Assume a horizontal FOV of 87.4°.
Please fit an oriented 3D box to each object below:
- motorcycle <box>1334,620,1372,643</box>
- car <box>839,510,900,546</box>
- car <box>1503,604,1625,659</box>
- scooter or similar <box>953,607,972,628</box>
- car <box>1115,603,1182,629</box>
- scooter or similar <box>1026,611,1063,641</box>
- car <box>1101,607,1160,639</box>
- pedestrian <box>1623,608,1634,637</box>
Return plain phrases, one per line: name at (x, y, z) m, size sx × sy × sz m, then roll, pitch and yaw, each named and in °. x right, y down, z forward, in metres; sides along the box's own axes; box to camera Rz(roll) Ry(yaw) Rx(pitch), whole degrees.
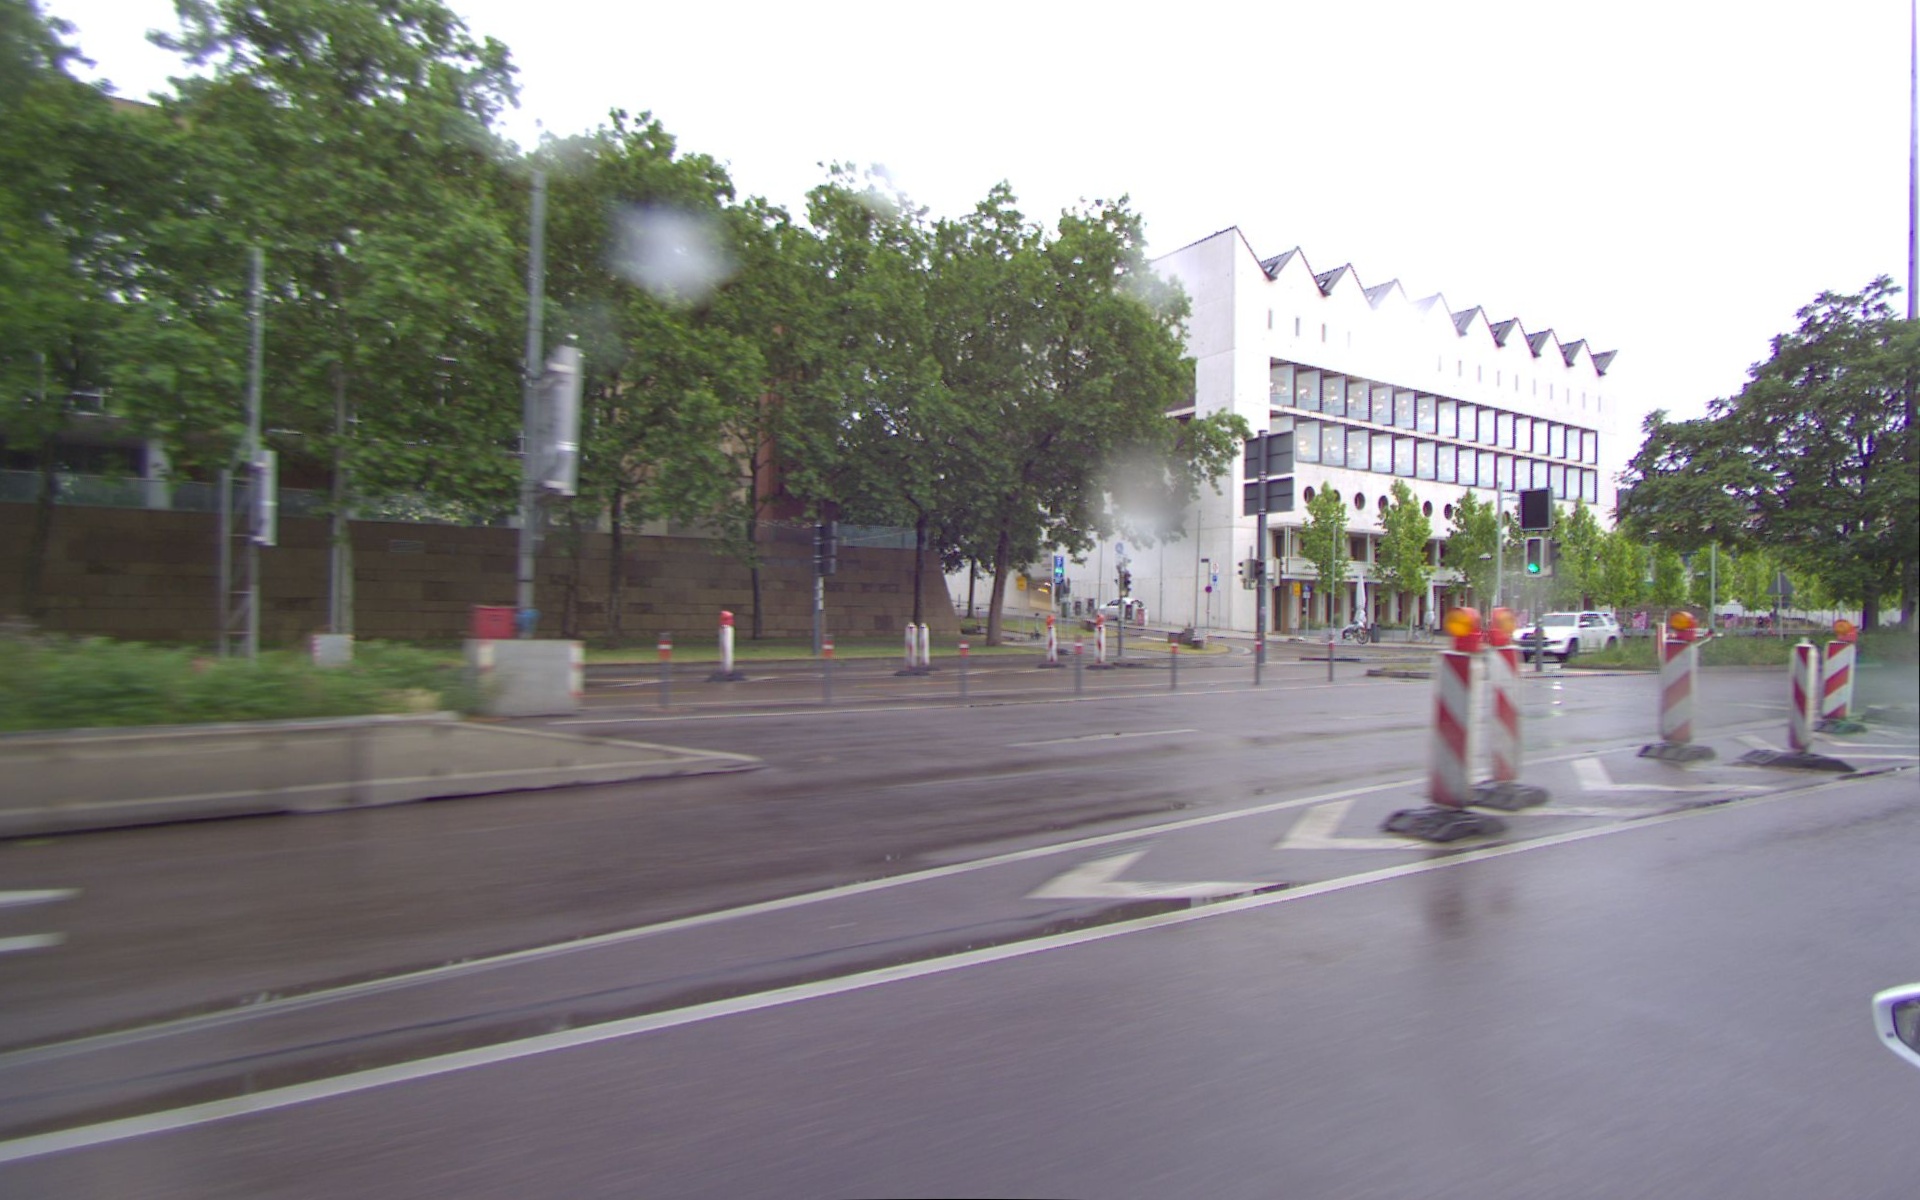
motorcycle at (20.517, 1.633, 52.399) m, size 1.808 × 1.169 × 0.426 m, roll 0°, pitch -1°, yaw 31°
car at (-6.504, -5.150, 72.149) m, size 3.952 × 2.142 × 1.985 m, roll 2°, pitch -3°, yaw -29°
car at (22.033, 1.196, 36.614) m, size 4.842 × 1.864 × 1.981 m, roll 2°, pitch -3°, yaw -34°
scooter or similar at (0.133, 0.925, 52.321) m, size 0.430 × 1.031 × 1.668 m, roll 1°, pitch -2°, yaw -20°
car at (11.949, 1.001, 63.864) m, size 1.979 × 1.617 × 3.962 m, roll 1°, pitch -1°, yaw -34°
scooter or similar at (4.035, 1.251, 48.161) m, size 1.645 × 1.369 × 0.713 m, roll 1°, pitch -2°, yaw -12°
car at (11.517, 1.582, 68.063) m, size 1.974 × 2.040 × 3.974 m, roll 2°, pitch -3°, yaw -26°
pedestrian at (47.538, 1.619, 71.422) m, size 0.531 × 2.040 × 0.530 m, roll 0°, pitch -2°, yaw 23°
